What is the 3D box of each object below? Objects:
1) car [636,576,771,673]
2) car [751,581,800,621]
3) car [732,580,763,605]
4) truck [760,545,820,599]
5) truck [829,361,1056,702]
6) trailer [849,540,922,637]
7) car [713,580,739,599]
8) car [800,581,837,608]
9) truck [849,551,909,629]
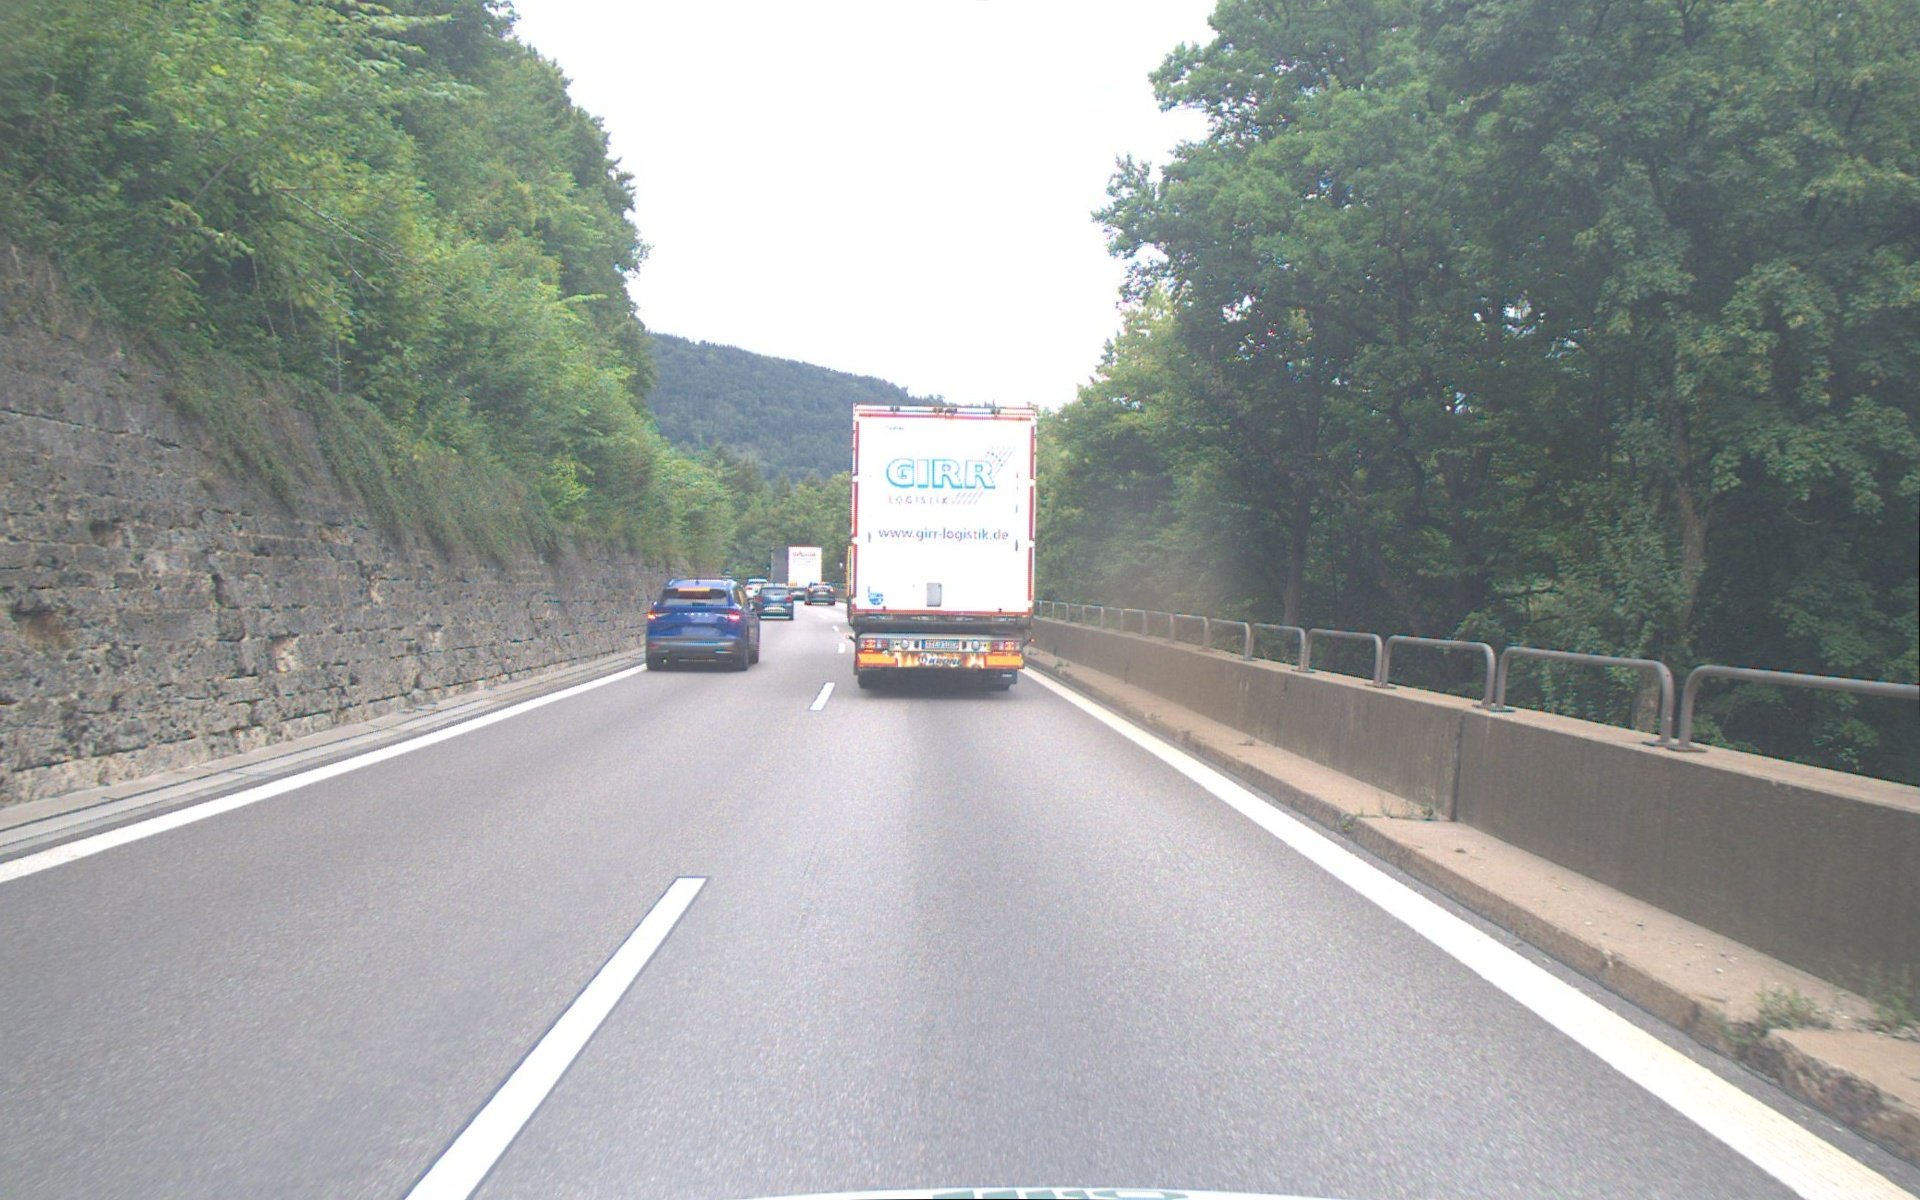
[{"bbox_3d":[-4.709,0.402,31.049,1.954,1.660,5.006,0,1,-3],"label":"car"},{"bbox_3d":[-7.885,0.032,70.728,1.955,1.624,4.348,2,0,-6],"label":"car"},{"bbox_3d":[-14.402,-0.521,112.136,1.862,1.577,4.239,1,1,-10],"label":"car"},{"bbox_3d":[-13.187,-2.109,127.035,2.591,3.925,12.307,0,1,-15],"label":"truck"},{"bbox_3d":[-0.483,-0.984,29.625,3.022,4.542,15.150,0,1,-2],"label":"truck"},{"bbox_3d":[-2.792,-0.413,59.199,2.168,3.101,11.128,1,0,-5],"label":"trailer"},{"bbox_3d":[-21.444,-0.967,151.642,1.865,1.577,4.233,1,1,-15],"label":"car"},{"bbox_3d":[-9.098,-0.375,106.076,2.022,1.683,3.991,0,1,-9],"label":"car"},{"bbox_3d":[-3.220,-0.389,64.602,2.165,2.901,5.000,1,0,-4],"label":"truck"}]
